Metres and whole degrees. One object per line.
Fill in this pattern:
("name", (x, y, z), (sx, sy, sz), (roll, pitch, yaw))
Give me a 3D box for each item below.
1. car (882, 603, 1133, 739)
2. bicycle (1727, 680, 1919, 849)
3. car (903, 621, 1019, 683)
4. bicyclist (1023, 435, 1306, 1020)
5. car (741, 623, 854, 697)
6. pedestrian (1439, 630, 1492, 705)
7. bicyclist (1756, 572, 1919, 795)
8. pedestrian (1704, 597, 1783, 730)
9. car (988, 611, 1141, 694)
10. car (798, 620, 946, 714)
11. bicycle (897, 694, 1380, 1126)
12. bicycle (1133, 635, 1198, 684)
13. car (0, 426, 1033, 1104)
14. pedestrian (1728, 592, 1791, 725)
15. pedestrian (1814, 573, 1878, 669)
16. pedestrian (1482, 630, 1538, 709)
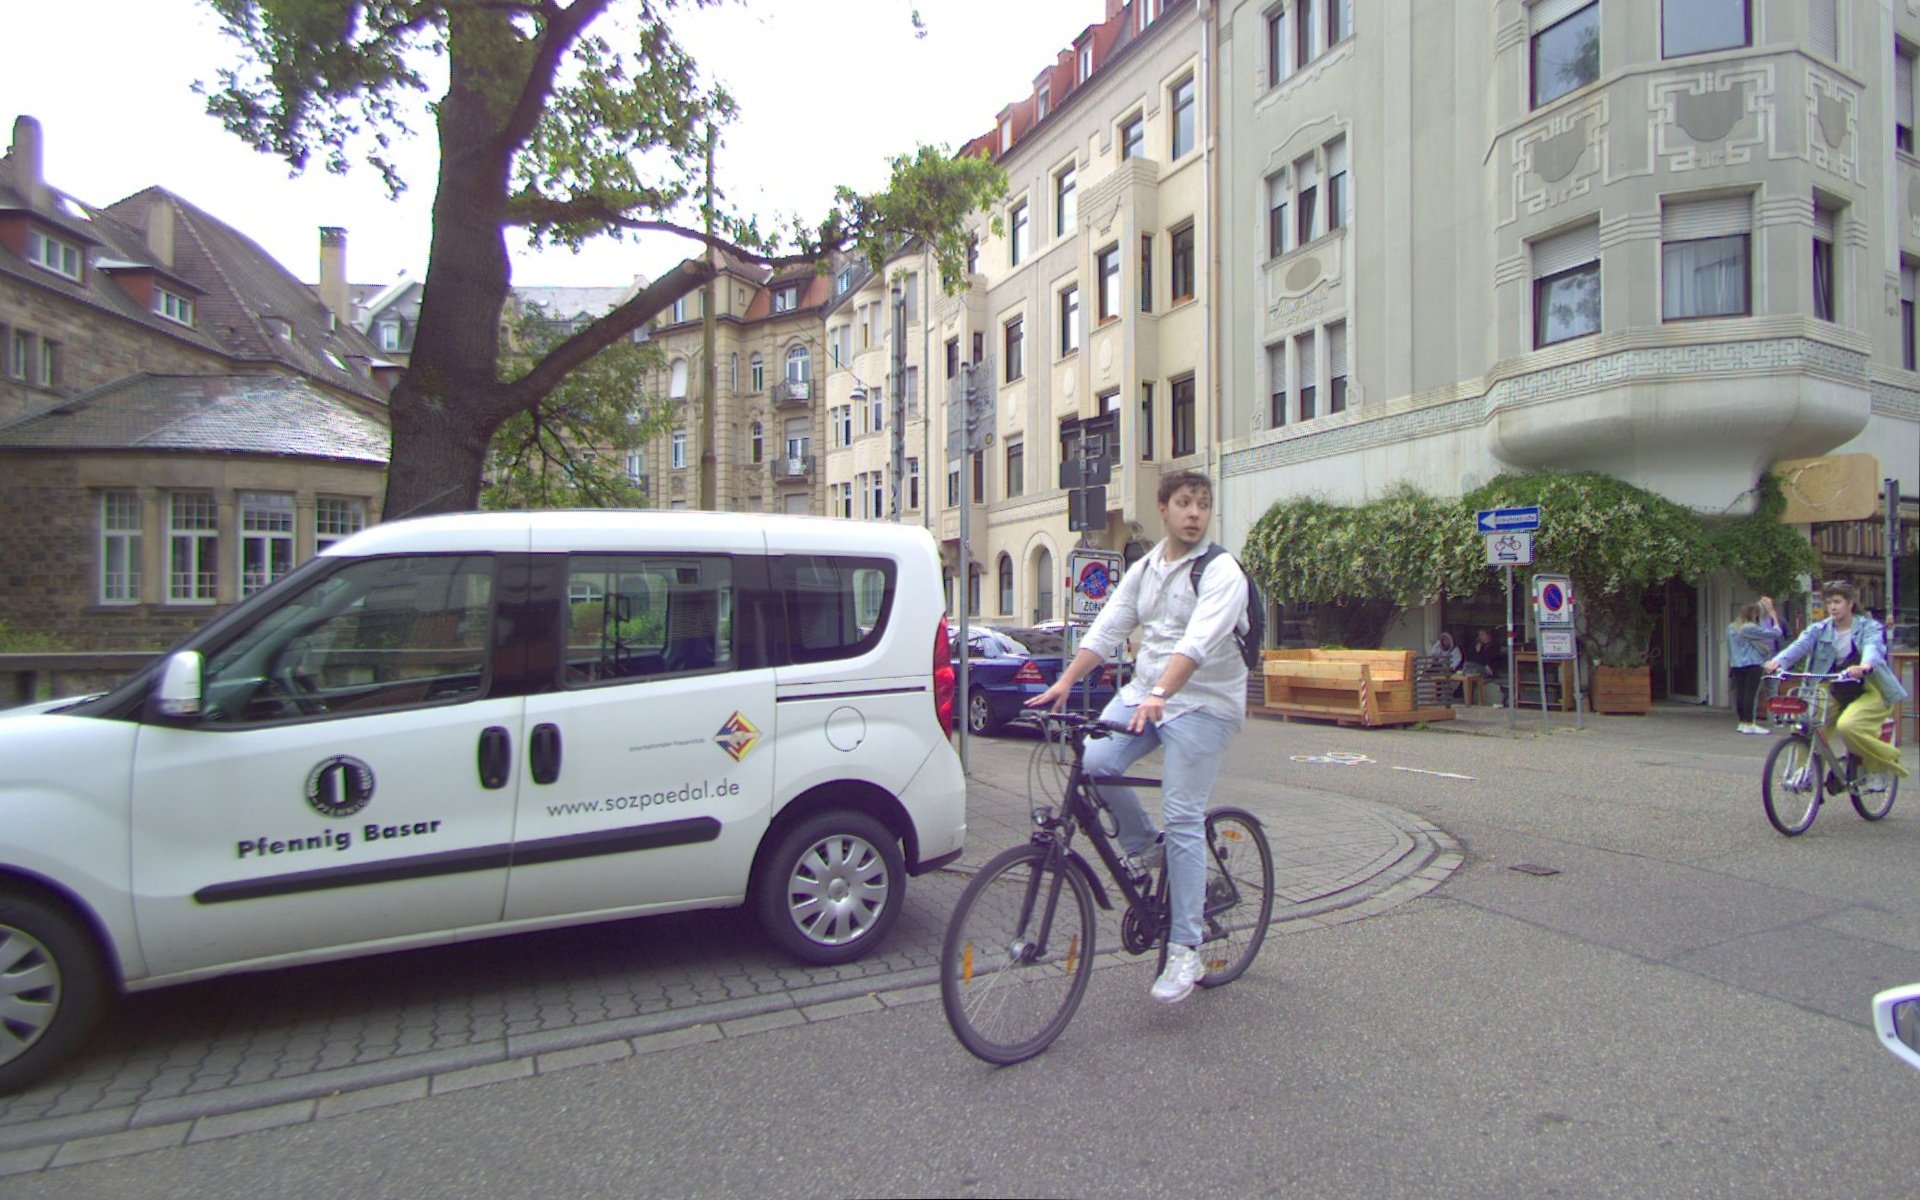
("car", (0.506, 0.924, 14.270), (1.747, 1.628, 4.042), (1, -2, -28))
("bicycle", (6.015, 1.067, 6.871), (1.842, 0.990, 0.533), (2, -1, -29))
("car", (-0.047, 1.446, 28.631), (1.677, 1.577, 3.803), (-2, -1, -28))
("bicyclist", (0.752, 0.418, 3.777), (0.707, 1.891, 0.777), (0, -1, -36))
("car", (-3.741, 1.298, 22.674), (1.453, 1.503, 3.478), (2, -2, -28))
("pedestrian", (8.421, 1.108, 16.740), (0.547, 1.213, 0.576), (0, 0, -27))
("bicyclist", (6.018, 0.543, 6.868), (0.774, 1.417, 0.665), (2, -1, -30))
("pedestrian", (10.184, 0.818, 13.071), (0.565, 1.682, 0.580), (1, -1, -5))
("car", (2.377, 1.207, 23.863), (1.745, 1.739, 3.803), (-2, -1, -28))
("car", (-1.676, 1.139, 18.177), (1.453, 1.503, 3.339), (2, -1, -28))
("bicycle", (0.742, 0.963, 3.690), (1.968, 1.102, 0.563), (1, -1, -37))
("bicycle", (4.946, 1.412, 24.333), (0.714, 1.112, 1.739), (0, -1, -22))
("car", (-2.087, 0.494, 4.257), (4.486, 1.965, 1.838), (0, 0, -25))
("pedestrian", (10.822, 0.776, 13.605), (0.569, 1.757, 0.505), (1, -1, 28))
("pedestrian", (15.180, 0.357, 17.223), (0.733, 1.614, 0.617), (1, -1, 33))
("pedestrian", (8.768, 1.099, 16.029), (0.547, 1.213, 0.576), (0, 0, -27))
